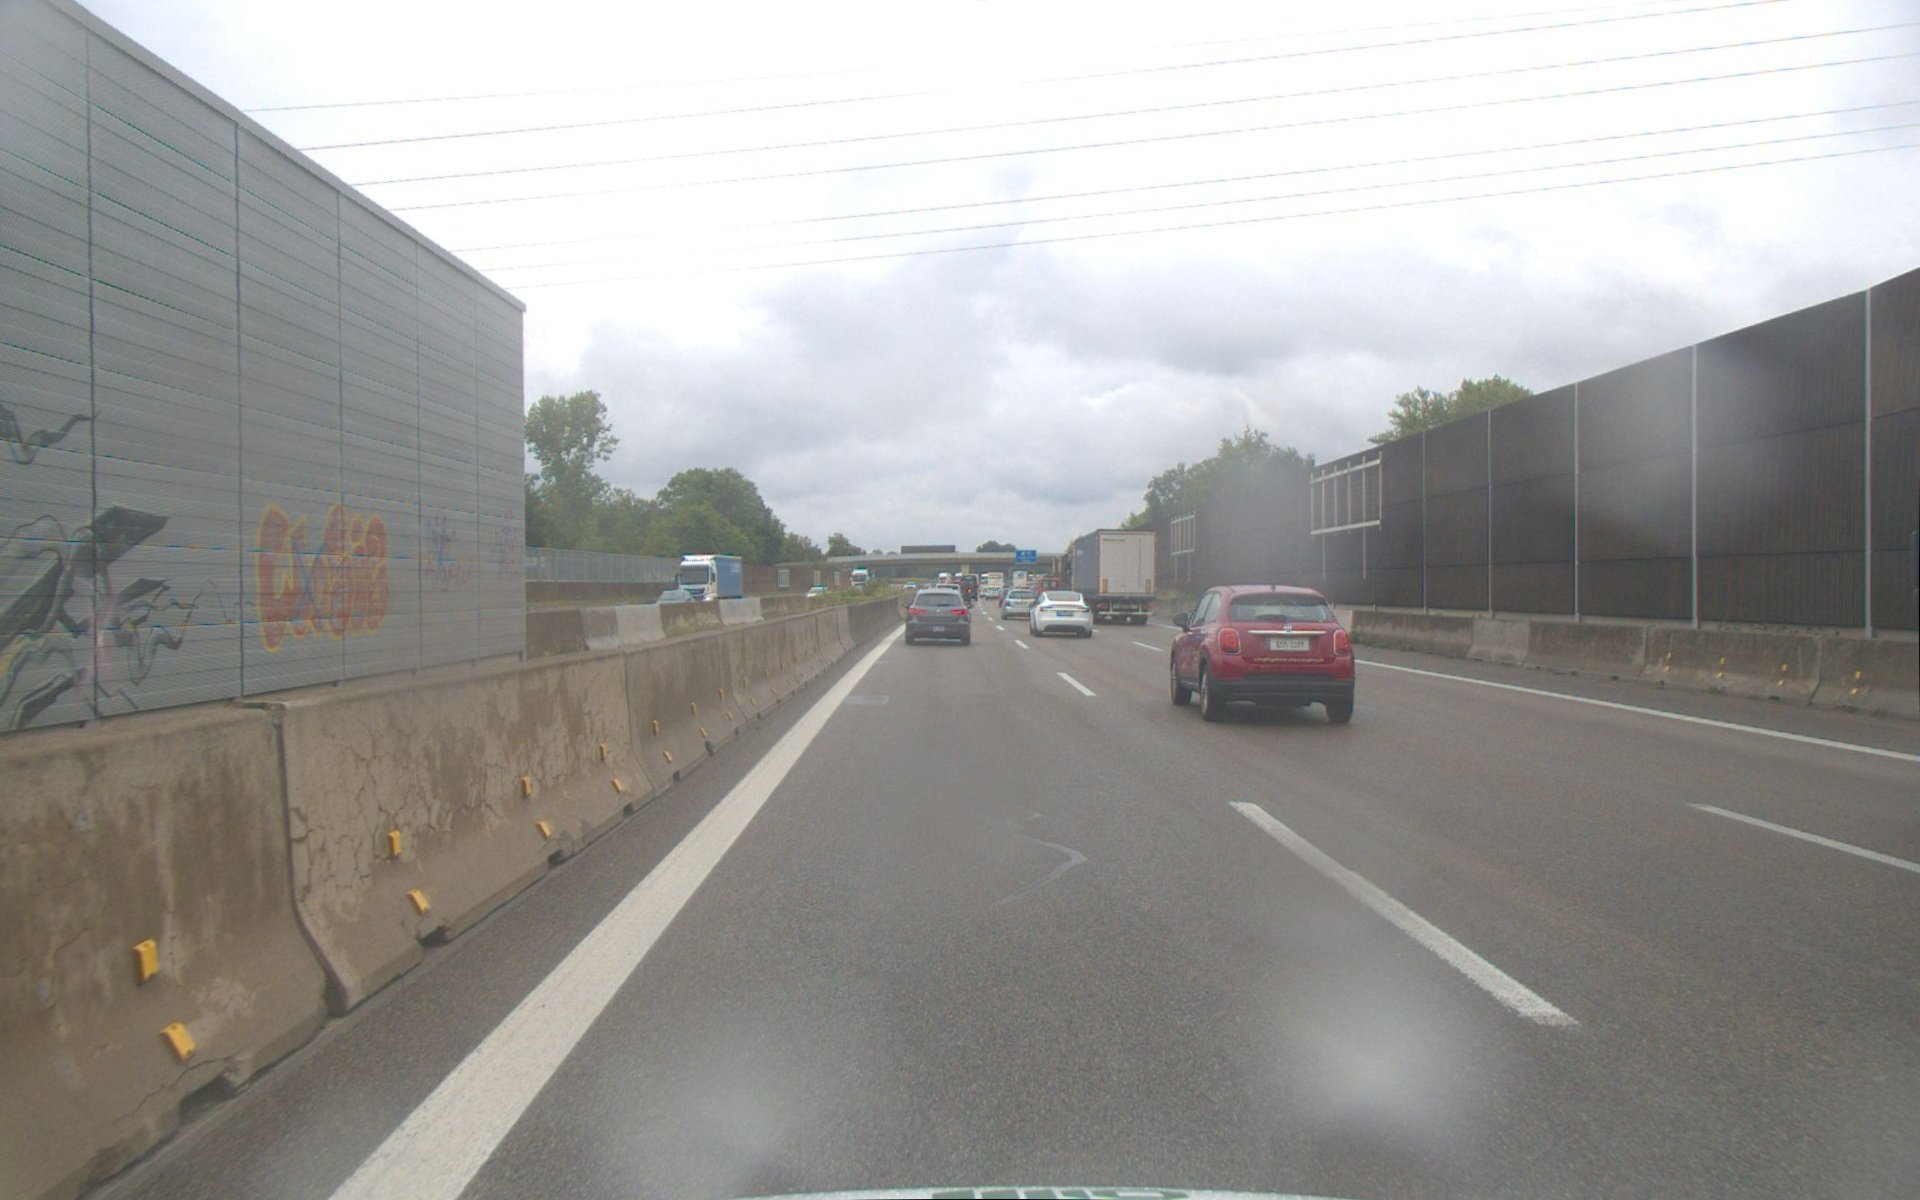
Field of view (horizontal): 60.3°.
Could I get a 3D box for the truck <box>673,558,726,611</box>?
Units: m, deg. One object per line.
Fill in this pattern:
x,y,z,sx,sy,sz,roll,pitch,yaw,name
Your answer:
-19.431,-1.119,123.709,2.932,3.756,6.880,1,0,-1,truck

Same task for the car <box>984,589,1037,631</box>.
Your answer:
1.945,0.371,65.201,1.953,1.545,4.000,1,0,0,car

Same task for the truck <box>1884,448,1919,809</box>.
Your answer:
7.871,0.236,9.041,2.312,2.550,6.145,1,0,2,truck

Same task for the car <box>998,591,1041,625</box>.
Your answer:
2.849,0.367,79.973,1.668,1.570,3.836,1,0,-4,car

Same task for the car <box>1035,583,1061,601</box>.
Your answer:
7.691,-0.703,144.385,1.953,1.545,3.999,1,0,-1,car

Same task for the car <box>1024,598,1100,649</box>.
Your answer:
3.197,0.709,52.643,1.954,1.512,3.998,1,0,-3,car

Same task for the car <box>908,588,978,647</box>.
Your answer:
-0.486,0.434,43.823,1.728,1.478,3.998,1,0,-2,car

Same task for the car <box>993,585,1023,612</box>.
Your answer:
3.696,-0.140,127.995,1.953,2.049,3.998,1,0,-2,car

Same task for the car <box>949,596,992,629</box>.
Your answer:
0.536,0.606,85.847,1.954,1.612,3.997,0,1,-4,car

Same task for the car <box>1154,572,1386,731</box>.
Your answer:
3.746,0.543,20.685,1.918,1.675,3.998,-2,2,-3,car

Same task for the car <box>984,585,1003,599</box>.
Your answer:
3.741,-0.889,184.212,1.953,1.545,3.999,1,0,-1,car

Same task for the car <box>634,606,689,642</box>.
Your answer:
-15.750,1.310,87.435,2.174,1.654,4.636,1,-4,-2,car

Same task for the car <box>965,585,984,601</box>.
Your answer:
1.506,-0.743,173.532,1.953,1.652,4.000,1,0,0,car

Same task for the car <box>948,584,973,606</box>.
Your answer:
0.033,-0.450,146.489,1.953,1.847,3.998,1,0,-2,car

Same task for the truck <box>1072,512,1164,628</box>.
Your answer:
6.908,-1.277,73.594,2.983,4.816,7.676,1,0,-2,truck
